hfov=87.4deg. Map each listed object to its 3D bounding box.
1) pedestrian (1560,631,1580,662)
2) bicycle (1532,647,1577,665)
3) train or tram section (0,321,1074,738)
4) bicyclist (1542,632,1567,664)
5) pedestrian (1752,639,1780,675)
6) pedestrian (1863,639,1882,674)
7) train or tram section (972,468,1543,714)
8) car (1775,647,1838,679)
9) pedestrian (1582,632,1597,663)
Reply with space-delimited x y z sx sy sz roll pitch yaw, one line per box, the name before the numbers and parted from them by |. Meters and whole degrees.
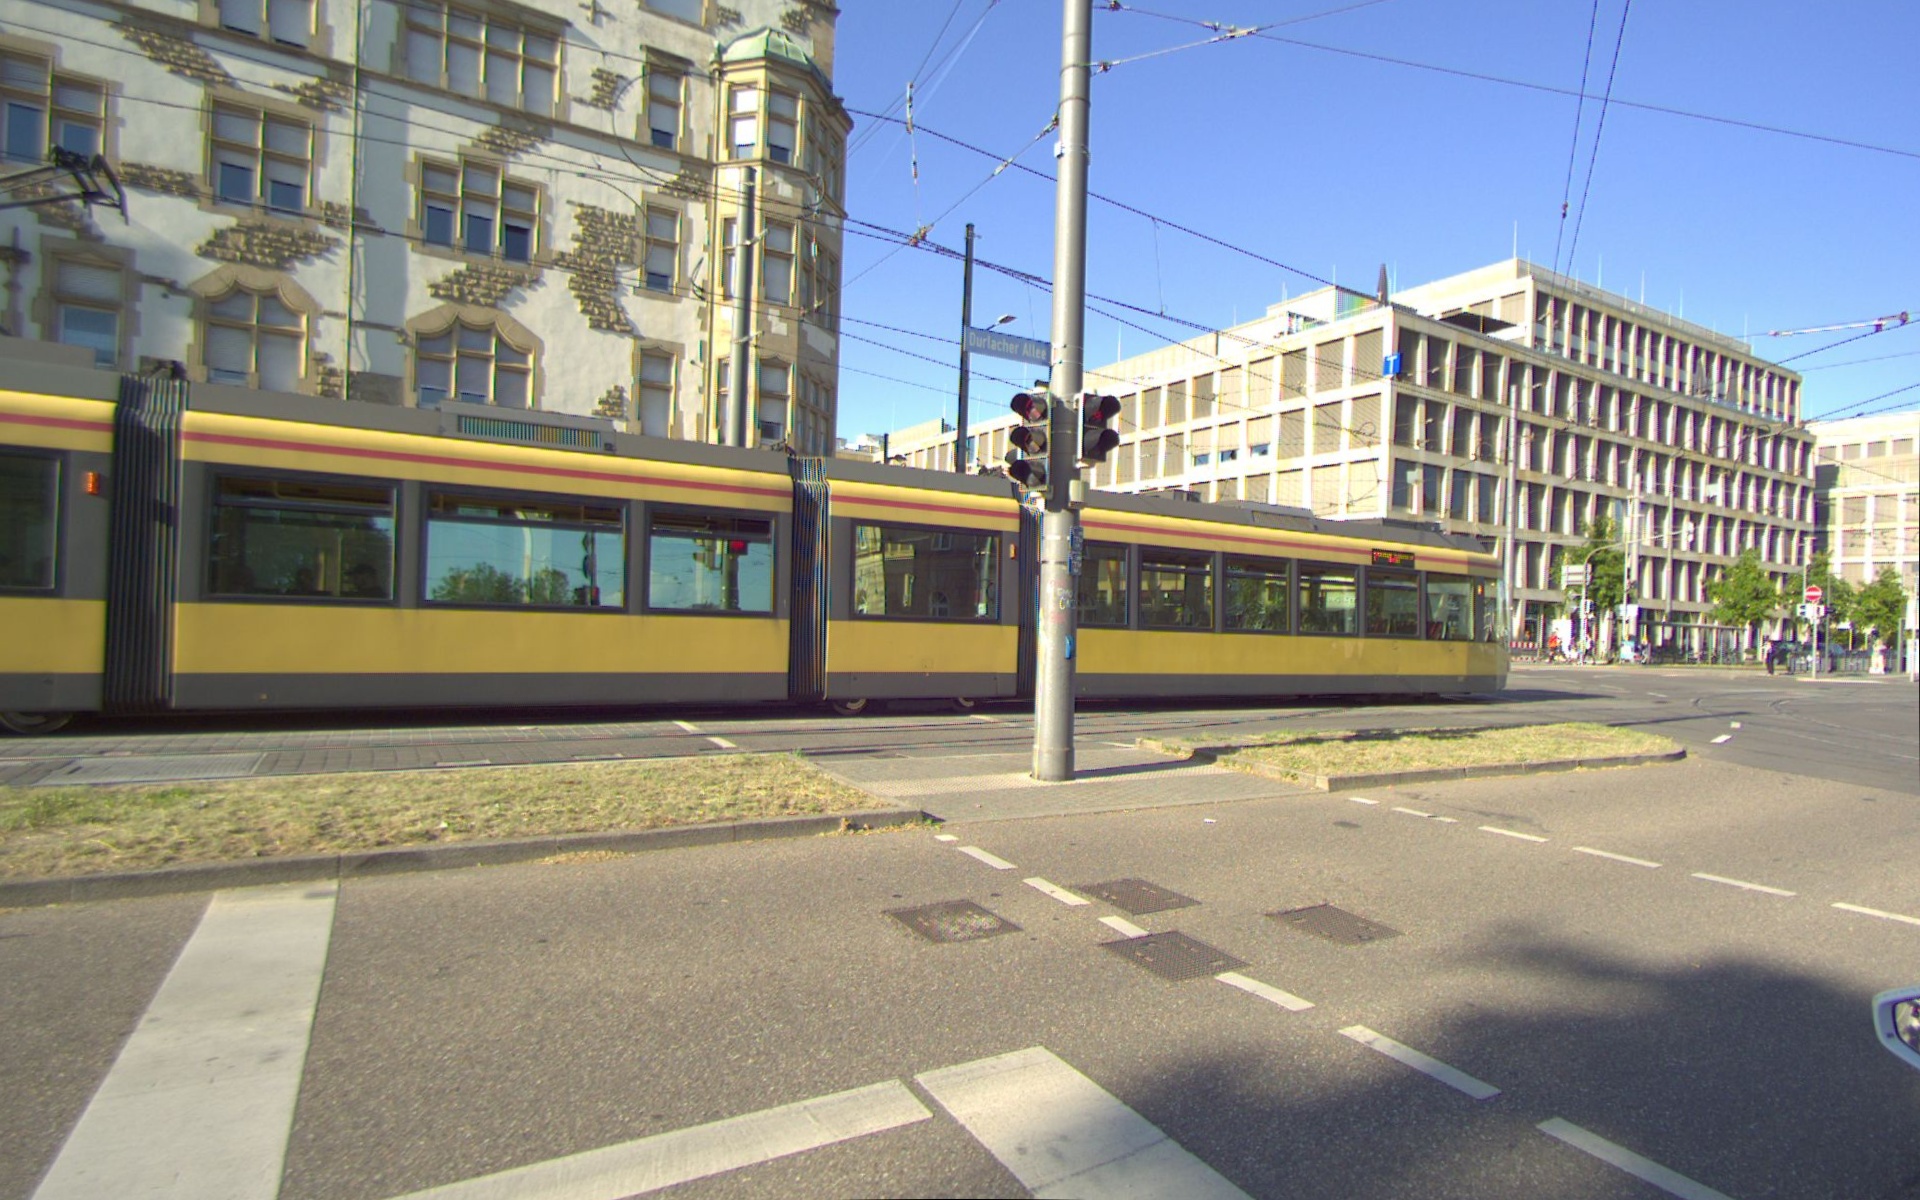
pedestrian | 30.787 2.336 50.706 0.575 1.545 0.592 2 0 -22
bicycle | 29.819 2.790 50.432 0.611 0.786 1.970 2 -1 -22
train or tram section | -4.703 -0.415 12.250 13.052 3.535 2.799 3 -1 -31
bicyclist | 29.815 2.393 50.394 0.773 1.545 0.703 2 -1 -22
pedestrian | 35.568 2.498 44.320 0.616 1.552 0.754 2 -1 -26
pedestrian | 45.007 2.787 49.534 0.609 1.686 0.513 2 -1 35
train or tram section | 6.101 0.097 18.754 12.015 3.535 2.799 3 -1 -31
car | 53.280 3.964 63.224 4.067 1.836 1.832 3 -1 -32
pedestrian | 32.407 2.446 51.714 0.585 1.595 0.582 2 0 27
